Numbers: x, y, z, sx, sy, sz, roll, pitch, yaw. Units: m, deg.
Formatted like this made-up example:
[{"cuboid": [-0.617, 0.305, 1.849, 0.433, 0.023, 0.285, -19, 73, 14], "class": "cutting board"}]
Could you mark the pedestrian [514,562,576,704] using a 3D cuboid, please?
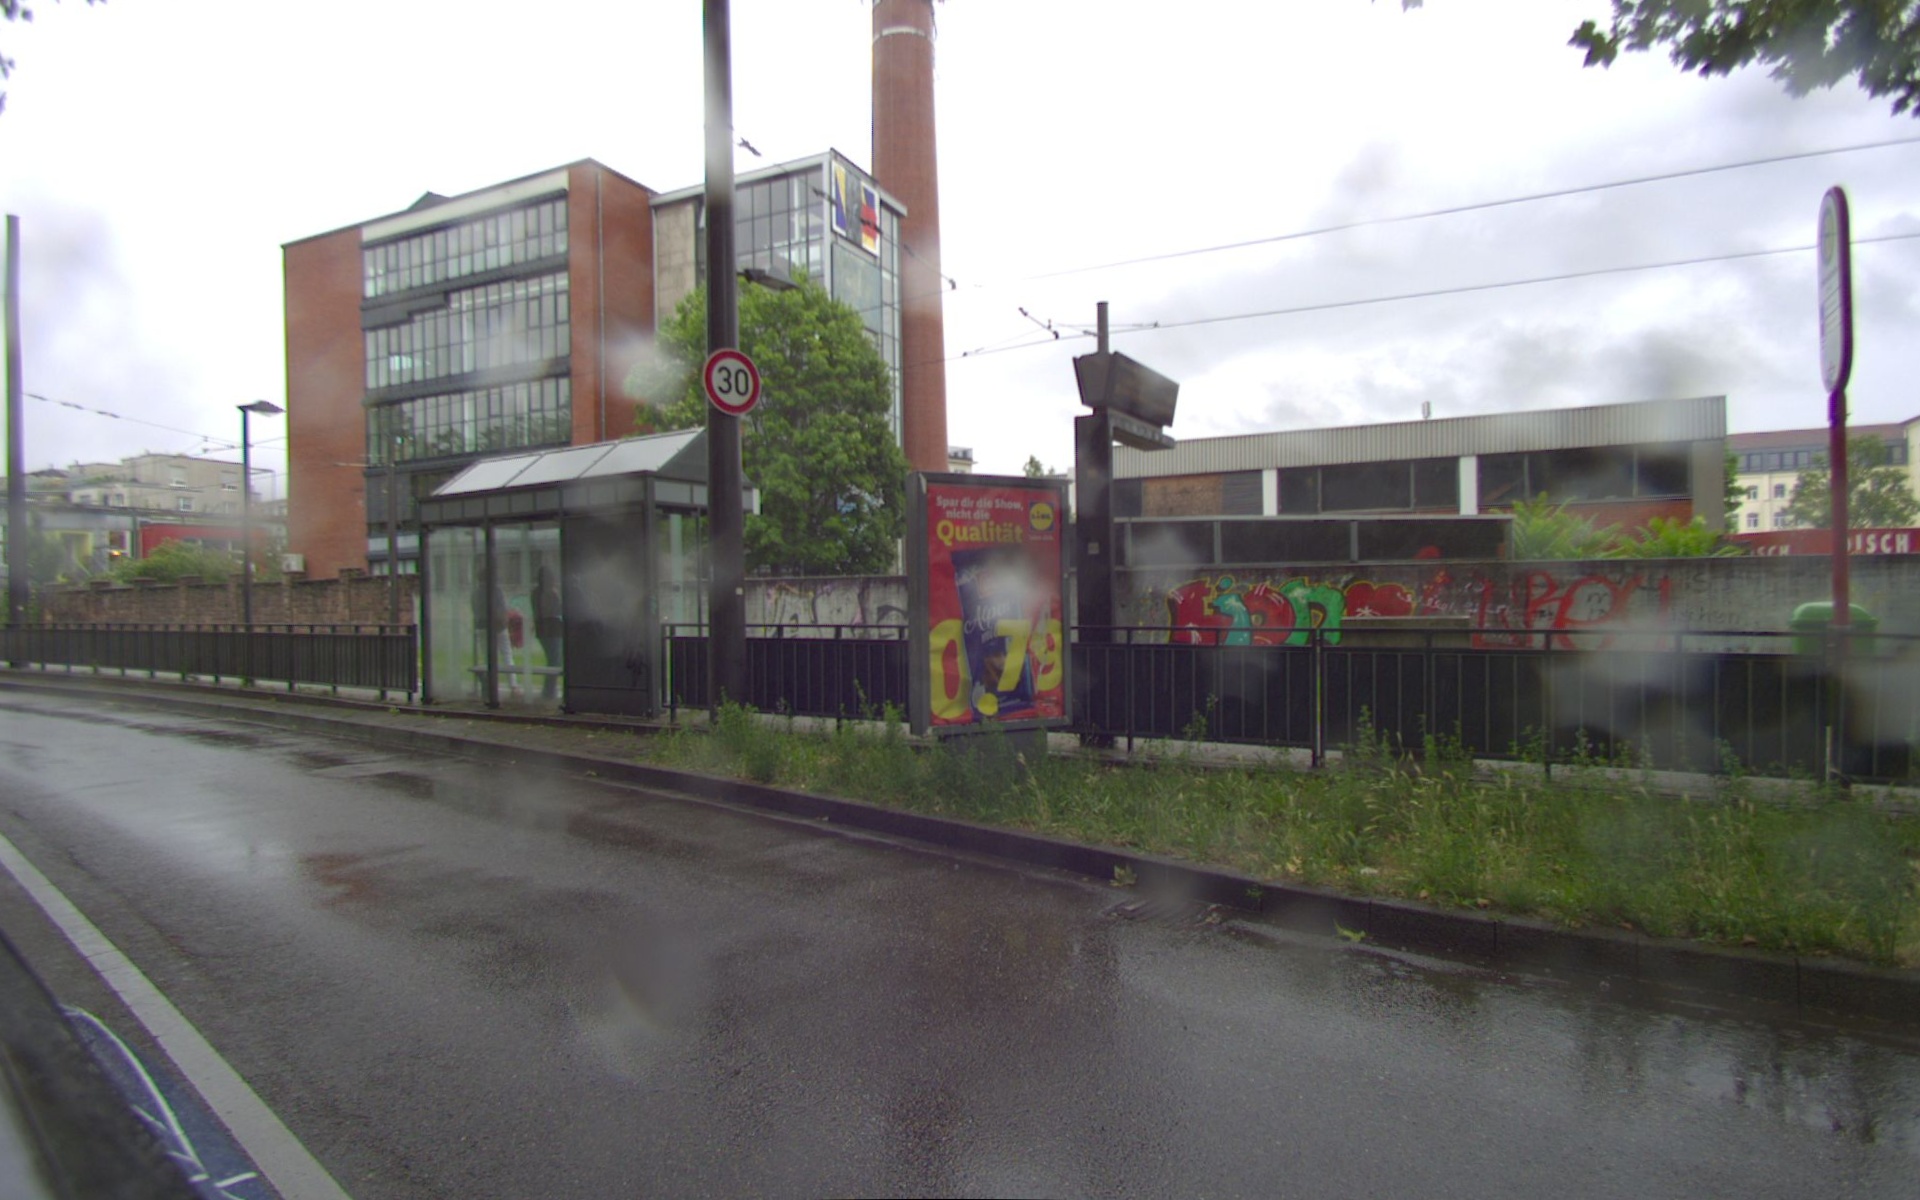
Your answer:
[{"cuboid": [-5.212, 0.413, 12.742, 0.560, 1.744, 0.583, 0, -2, -3], "class": "pedestrian"}]

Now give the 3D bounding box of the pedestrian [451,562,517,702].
[{"cuboid": [-6.067, 0.404, 12.911, 0.560, 1.744, 0.583, 0, -2, -1], "class": "pedestrian"}]

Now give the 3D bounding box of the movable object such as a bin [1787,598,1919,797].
[{"cuboid": [5.228, 0.548, 5.892, 0.528, 1.098, 0.414, -1, -2, 25], "class": "movable object such as a bin"}]
